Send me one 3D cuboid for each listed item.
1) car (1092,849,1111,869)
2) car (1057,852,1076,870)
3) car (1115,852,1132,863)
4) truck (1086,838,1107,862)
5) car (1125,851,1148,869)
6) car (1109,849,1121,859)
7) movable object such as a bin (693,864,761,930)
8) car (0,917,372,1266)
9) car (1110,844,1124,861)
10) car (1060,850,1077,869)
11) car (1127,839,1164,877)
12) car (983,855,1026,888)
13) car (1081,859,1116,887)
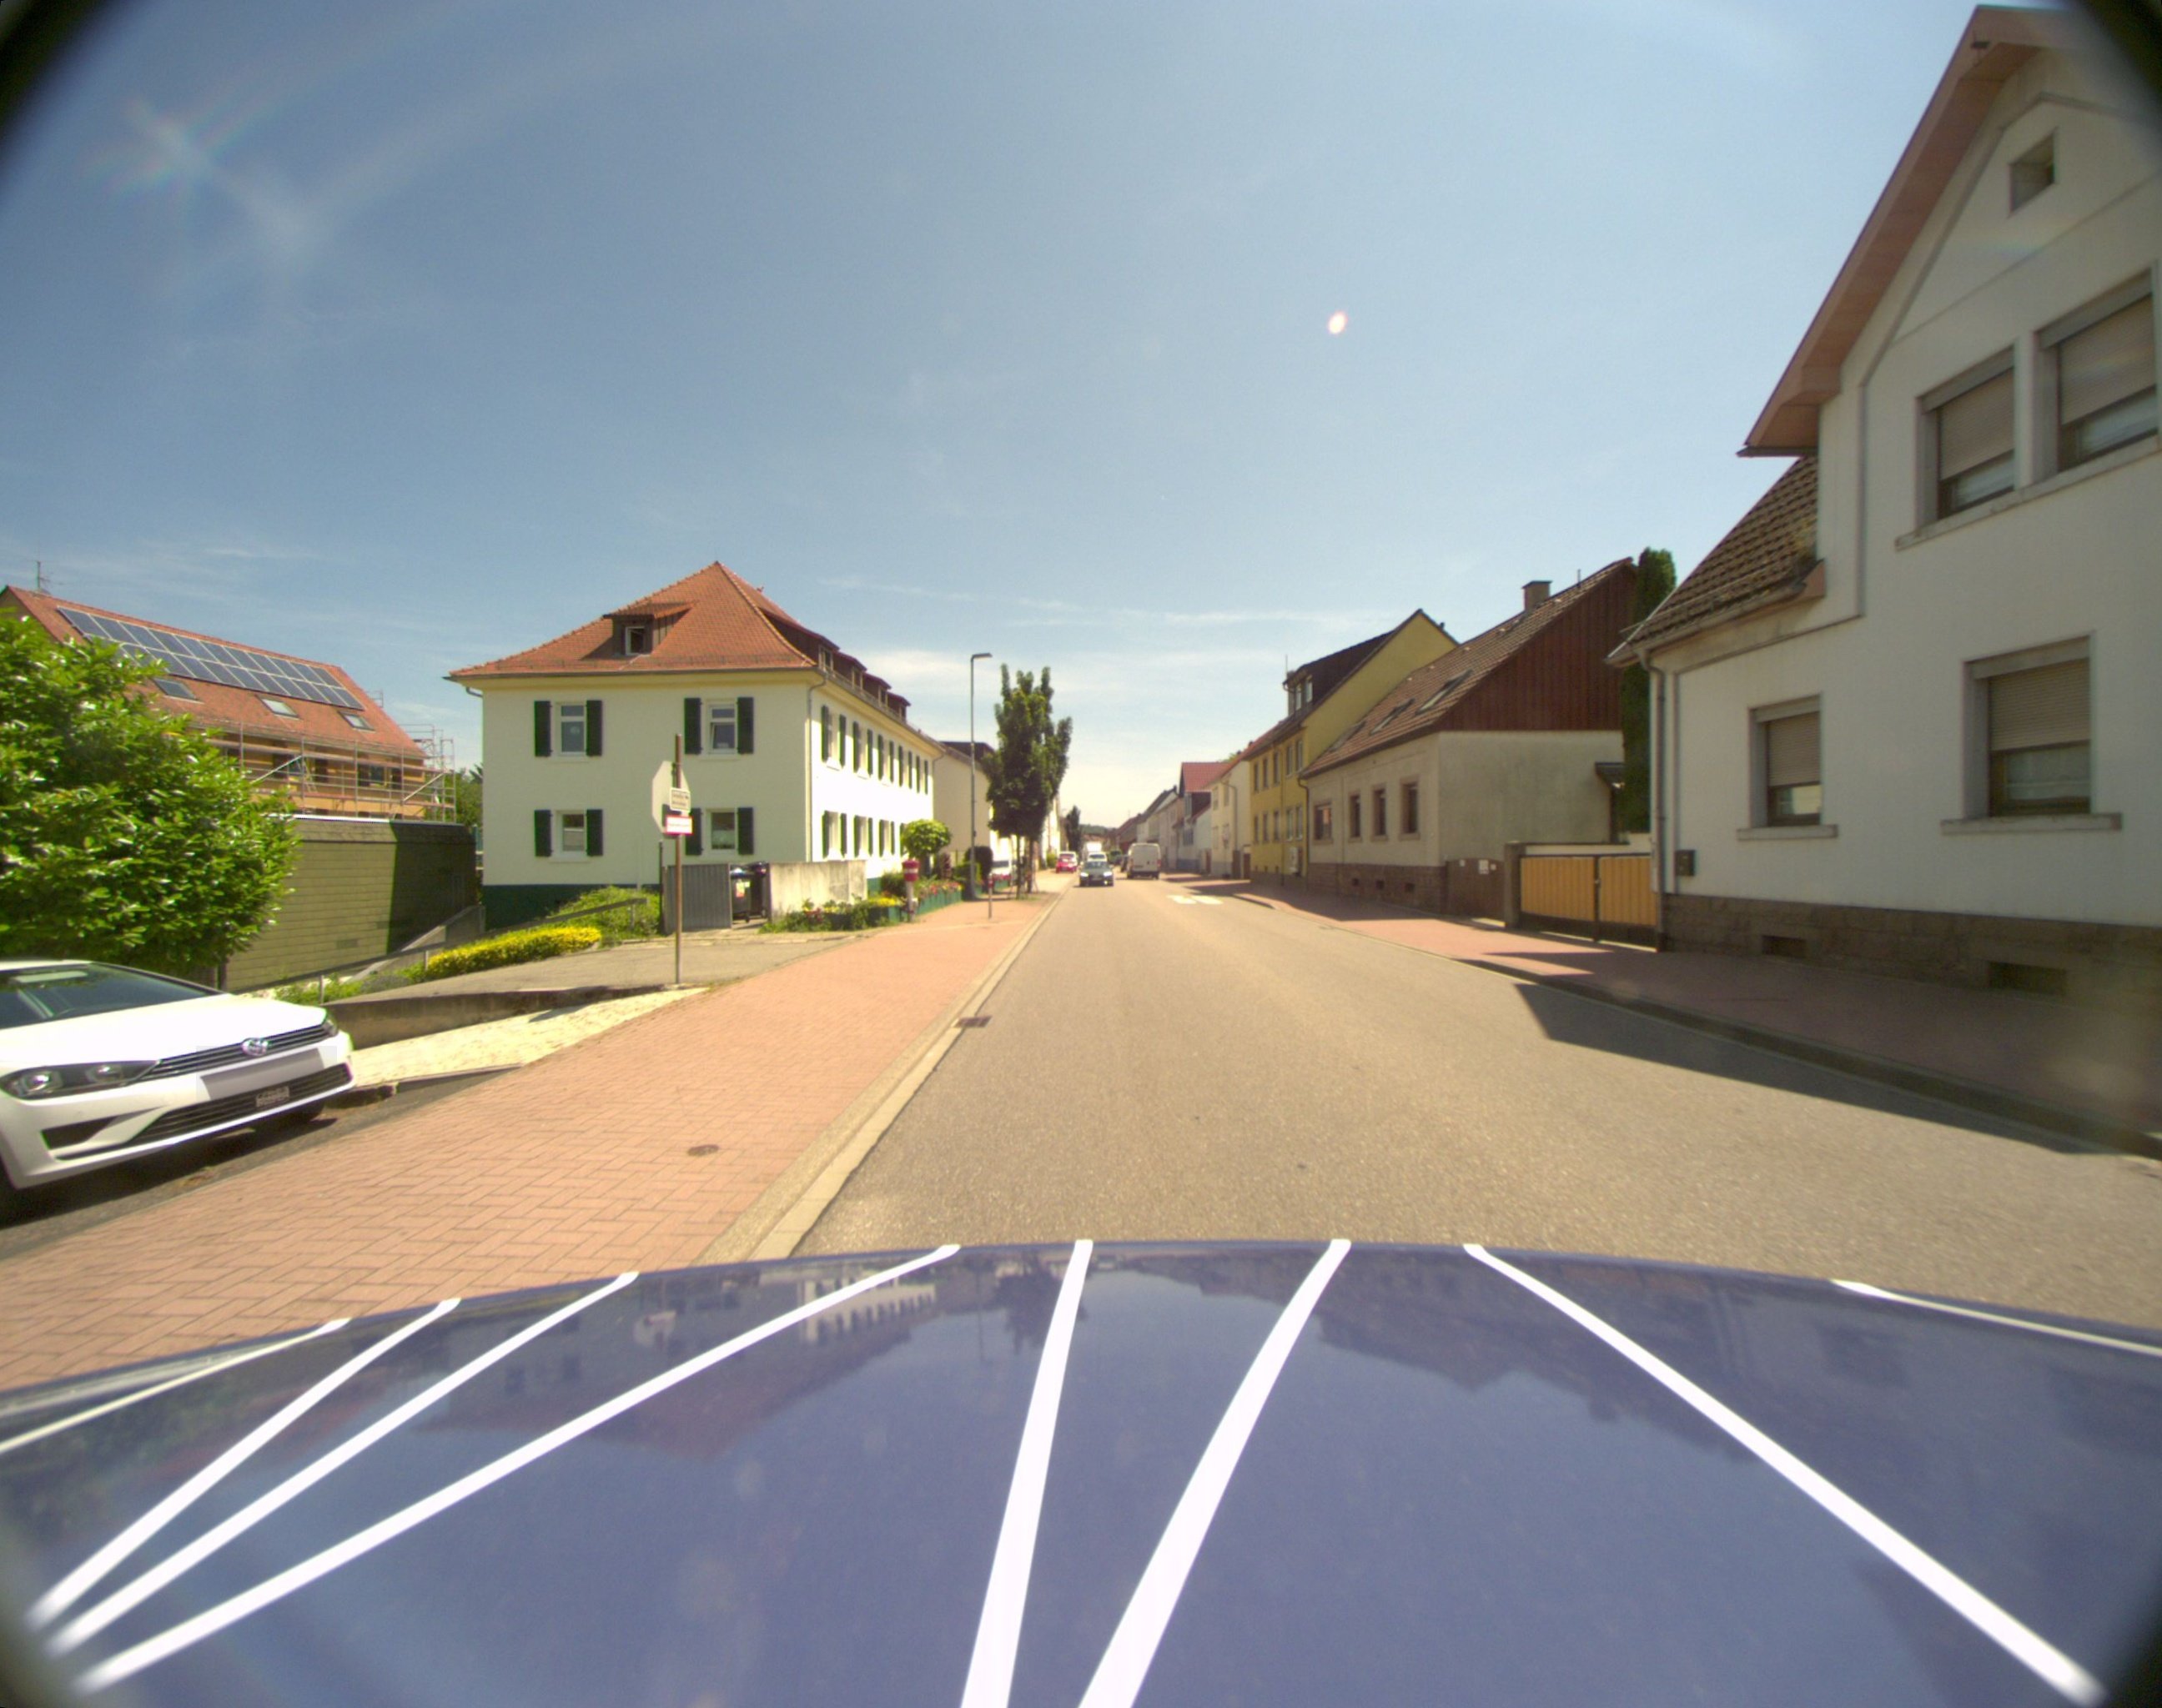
[{"bbox_3d":[1.938,0.467,71.242,1.636,1.833,3.570,-1,0,2],"label":"car"},{"bbox_3d":[-1.327,0.653,70.140,1.636,1.572,3.570,1,0,1],"label":"car"},{"bbox_3d":[5.570,0.454,100.324,1.983,1.508,4.250,0,0,1],"label":"car"},{"bbox_3d":[2.406,-0.615,116.565,2.898,3.516,12.954,-1,0,1],"label":"truck"},{"bbox_3d":[5.234,0.553,72.668,1.982,1.624,4.251,1,0,2],"label":"car"},{"bbox_3d":[6.506,-0.042,145.907,1.925,1.782,4.249,1,0,-2],"label":"car"},{"bbox_3d":[-8.236,0.990,17.706,1.052,1.422,0.901,-3,1,3],"label":"movable object such as a bin"},{"bbox_3d":[-7.095,1.570,4.629,3.967,1.541,1.637,-11,0,4],"label":"car"},{"bbox_3d":[5.482,-0.212,116.442,1.982,2.502,4.250,1,0,1],"label":"car"},{"bbox_3d":[-1.216,0.512,75.768,1.636,1.833,3.569,1,0,0],"label":"car"},{"bbox_3d":[4.484,0.271,53.772,2.115,2.517,4.914,1,0,0],"label":"car"},{"bbox_3d":[-3.915,0.865,39.521,1.508,1.521,4.437,-3,0,3],"label":"car"},{"bbox_3d":[0.912,0.953,40.088,1.705,1.346,4.000,-2,0,1],"label":"car"}]
